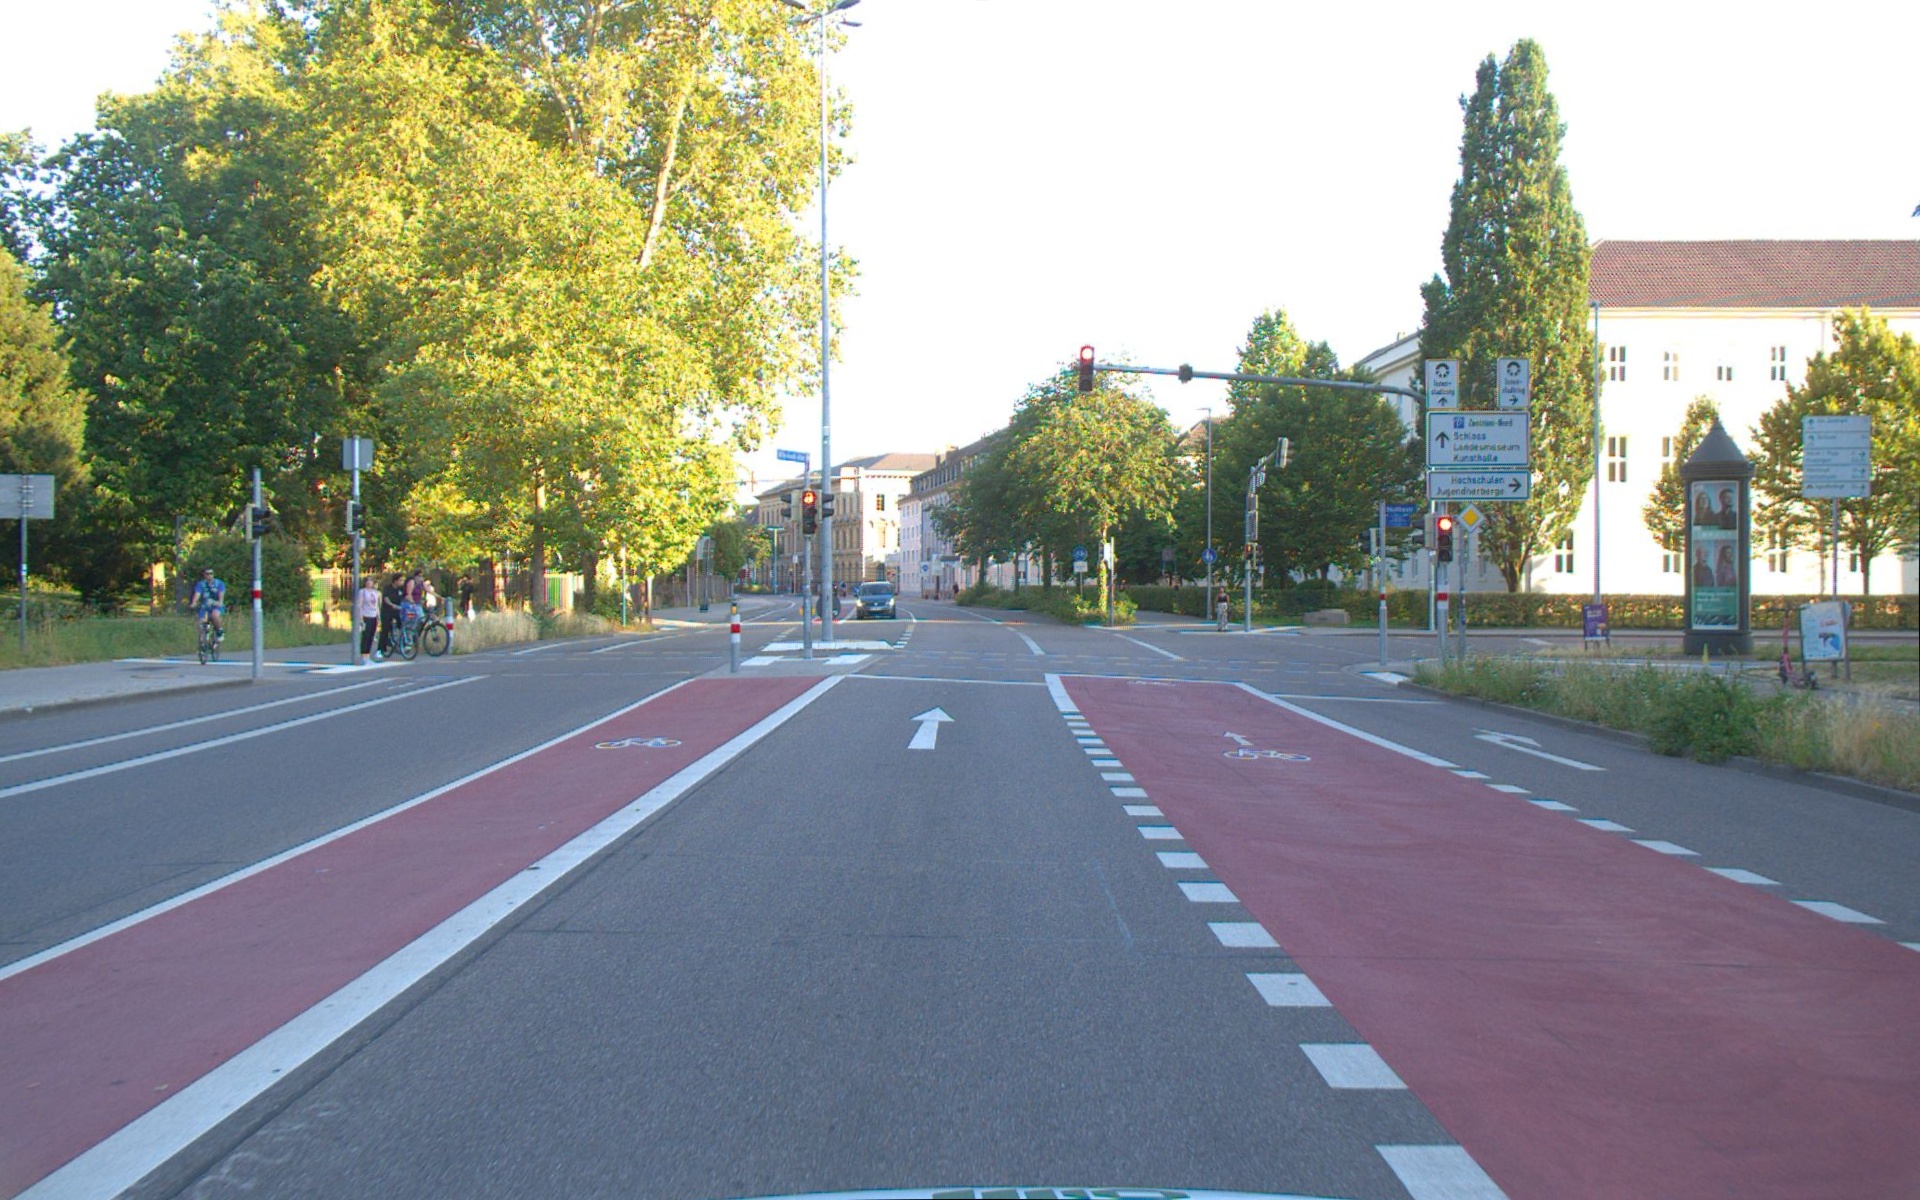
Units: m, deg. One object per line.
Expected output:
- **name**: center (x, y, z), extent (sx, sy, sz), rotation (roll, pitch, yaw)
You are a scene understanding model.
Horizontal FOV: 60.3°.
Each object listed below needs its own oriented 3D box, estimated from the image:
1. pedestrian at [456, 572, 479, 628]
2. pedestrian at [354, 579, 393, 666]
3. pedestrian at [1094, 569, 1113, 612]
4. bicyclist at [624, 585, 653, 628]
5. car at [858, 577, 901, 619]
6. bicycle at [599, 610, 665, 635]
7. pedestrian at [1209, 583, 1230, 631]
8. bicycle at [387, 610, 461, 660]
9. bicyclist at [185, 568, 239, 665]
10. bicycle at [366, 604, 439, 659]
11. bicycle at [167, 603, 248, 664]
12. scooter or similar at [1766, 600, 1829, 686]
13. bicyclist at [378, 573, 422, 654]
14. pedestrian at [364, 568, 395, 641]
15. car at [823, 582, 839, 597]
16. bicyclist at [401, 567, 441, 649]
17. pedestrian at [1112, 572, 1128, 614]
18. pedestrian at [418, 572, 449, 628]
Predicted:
- **pedestrian**: center (-18.215, 0.005, 61.217), extent (0.626, 2.049, 0.701), rotation (0, 0, 2)
- **pedestrian**: center (-11.693, 0.448, 32.970), extent (0.594, 1.725, 0.498), rotation (0, 0, 2)
- **pedestrian**: center (7.017, -0.467, 80.728), extent (0.852, 2.049, 0.722), rotation (1, 0, 0)
- **bicyclist**: center (-12.337, 0.253, 63.523), extent (0.938, 1.659, 0.753), rotation (0, 0, 1)
- **car**: center (-3.598, -0.105, 74.486), extent (1.812, 1.750, 4.294), rotation (-2, 0, -2)
- **bicycle**: center (-12.586, 0.861, 63.535), extent (2.379, 0.940, 0.775), rotation (0, 0, 1)
- **pedestrian**: center (9.242, 0.244, 58.907), extent (0.587, 1.664, 0.691), rotation (1, 1, -1)
- **bicycle**: center (-11.895, 0.767, 36.700), extent (1.734, 1.048, 0.578), rotation (0, 0, 32)
- **bicyclist**: center (-14.546, 0.310, 32.164), extent (0.720, 1.856, 0.711), rotation (1, 0, -5)
- **bicycle**: center (-11.819, 0.660, 35.054), extent (1.535, 1.130, 0.631), rotation (0, 0, 32)
- **bicycle**: center (-14.560, 0.635, 32.064), extent (0.755, 1.120, 2.120), rotation (0, 0, -5)
- **scooter or similar**: center (12.715, 0.638, 25.143), extent (0.304, 1.252, 1.311), rotation (0, 0, 0)
- **bicyclist**: center (-11.881, 0.280, 35.091), extent (0.626, 1.678, 0.629), rotation (0, 0, 31)
- **pedestrian**: center (-16.464, 0.136, 46.919), extent (0.644, 2.049, 0.598), rotation (1, 0, -38)
- **car**: center (-14.809, -1.186, 189.625), extent (1.784, 1.616, 3.996), rotation (-1, 1, -5)
- **bicyclist**: center (-11.969, 0.170, 36.746), extent (0.626, 1.811, 0.575), rotation (0, 0, 31)
- **pedestrian**: center (7.898, -0.329, 81.633), extent (0.622, 2.049, 0.720), rotation (1, 0, -3)
- **pedestrian**: center (-19.583, 0.008, 61.512), extent (0.744, 2.049, 1.077), rotation (1, 0, 3)
